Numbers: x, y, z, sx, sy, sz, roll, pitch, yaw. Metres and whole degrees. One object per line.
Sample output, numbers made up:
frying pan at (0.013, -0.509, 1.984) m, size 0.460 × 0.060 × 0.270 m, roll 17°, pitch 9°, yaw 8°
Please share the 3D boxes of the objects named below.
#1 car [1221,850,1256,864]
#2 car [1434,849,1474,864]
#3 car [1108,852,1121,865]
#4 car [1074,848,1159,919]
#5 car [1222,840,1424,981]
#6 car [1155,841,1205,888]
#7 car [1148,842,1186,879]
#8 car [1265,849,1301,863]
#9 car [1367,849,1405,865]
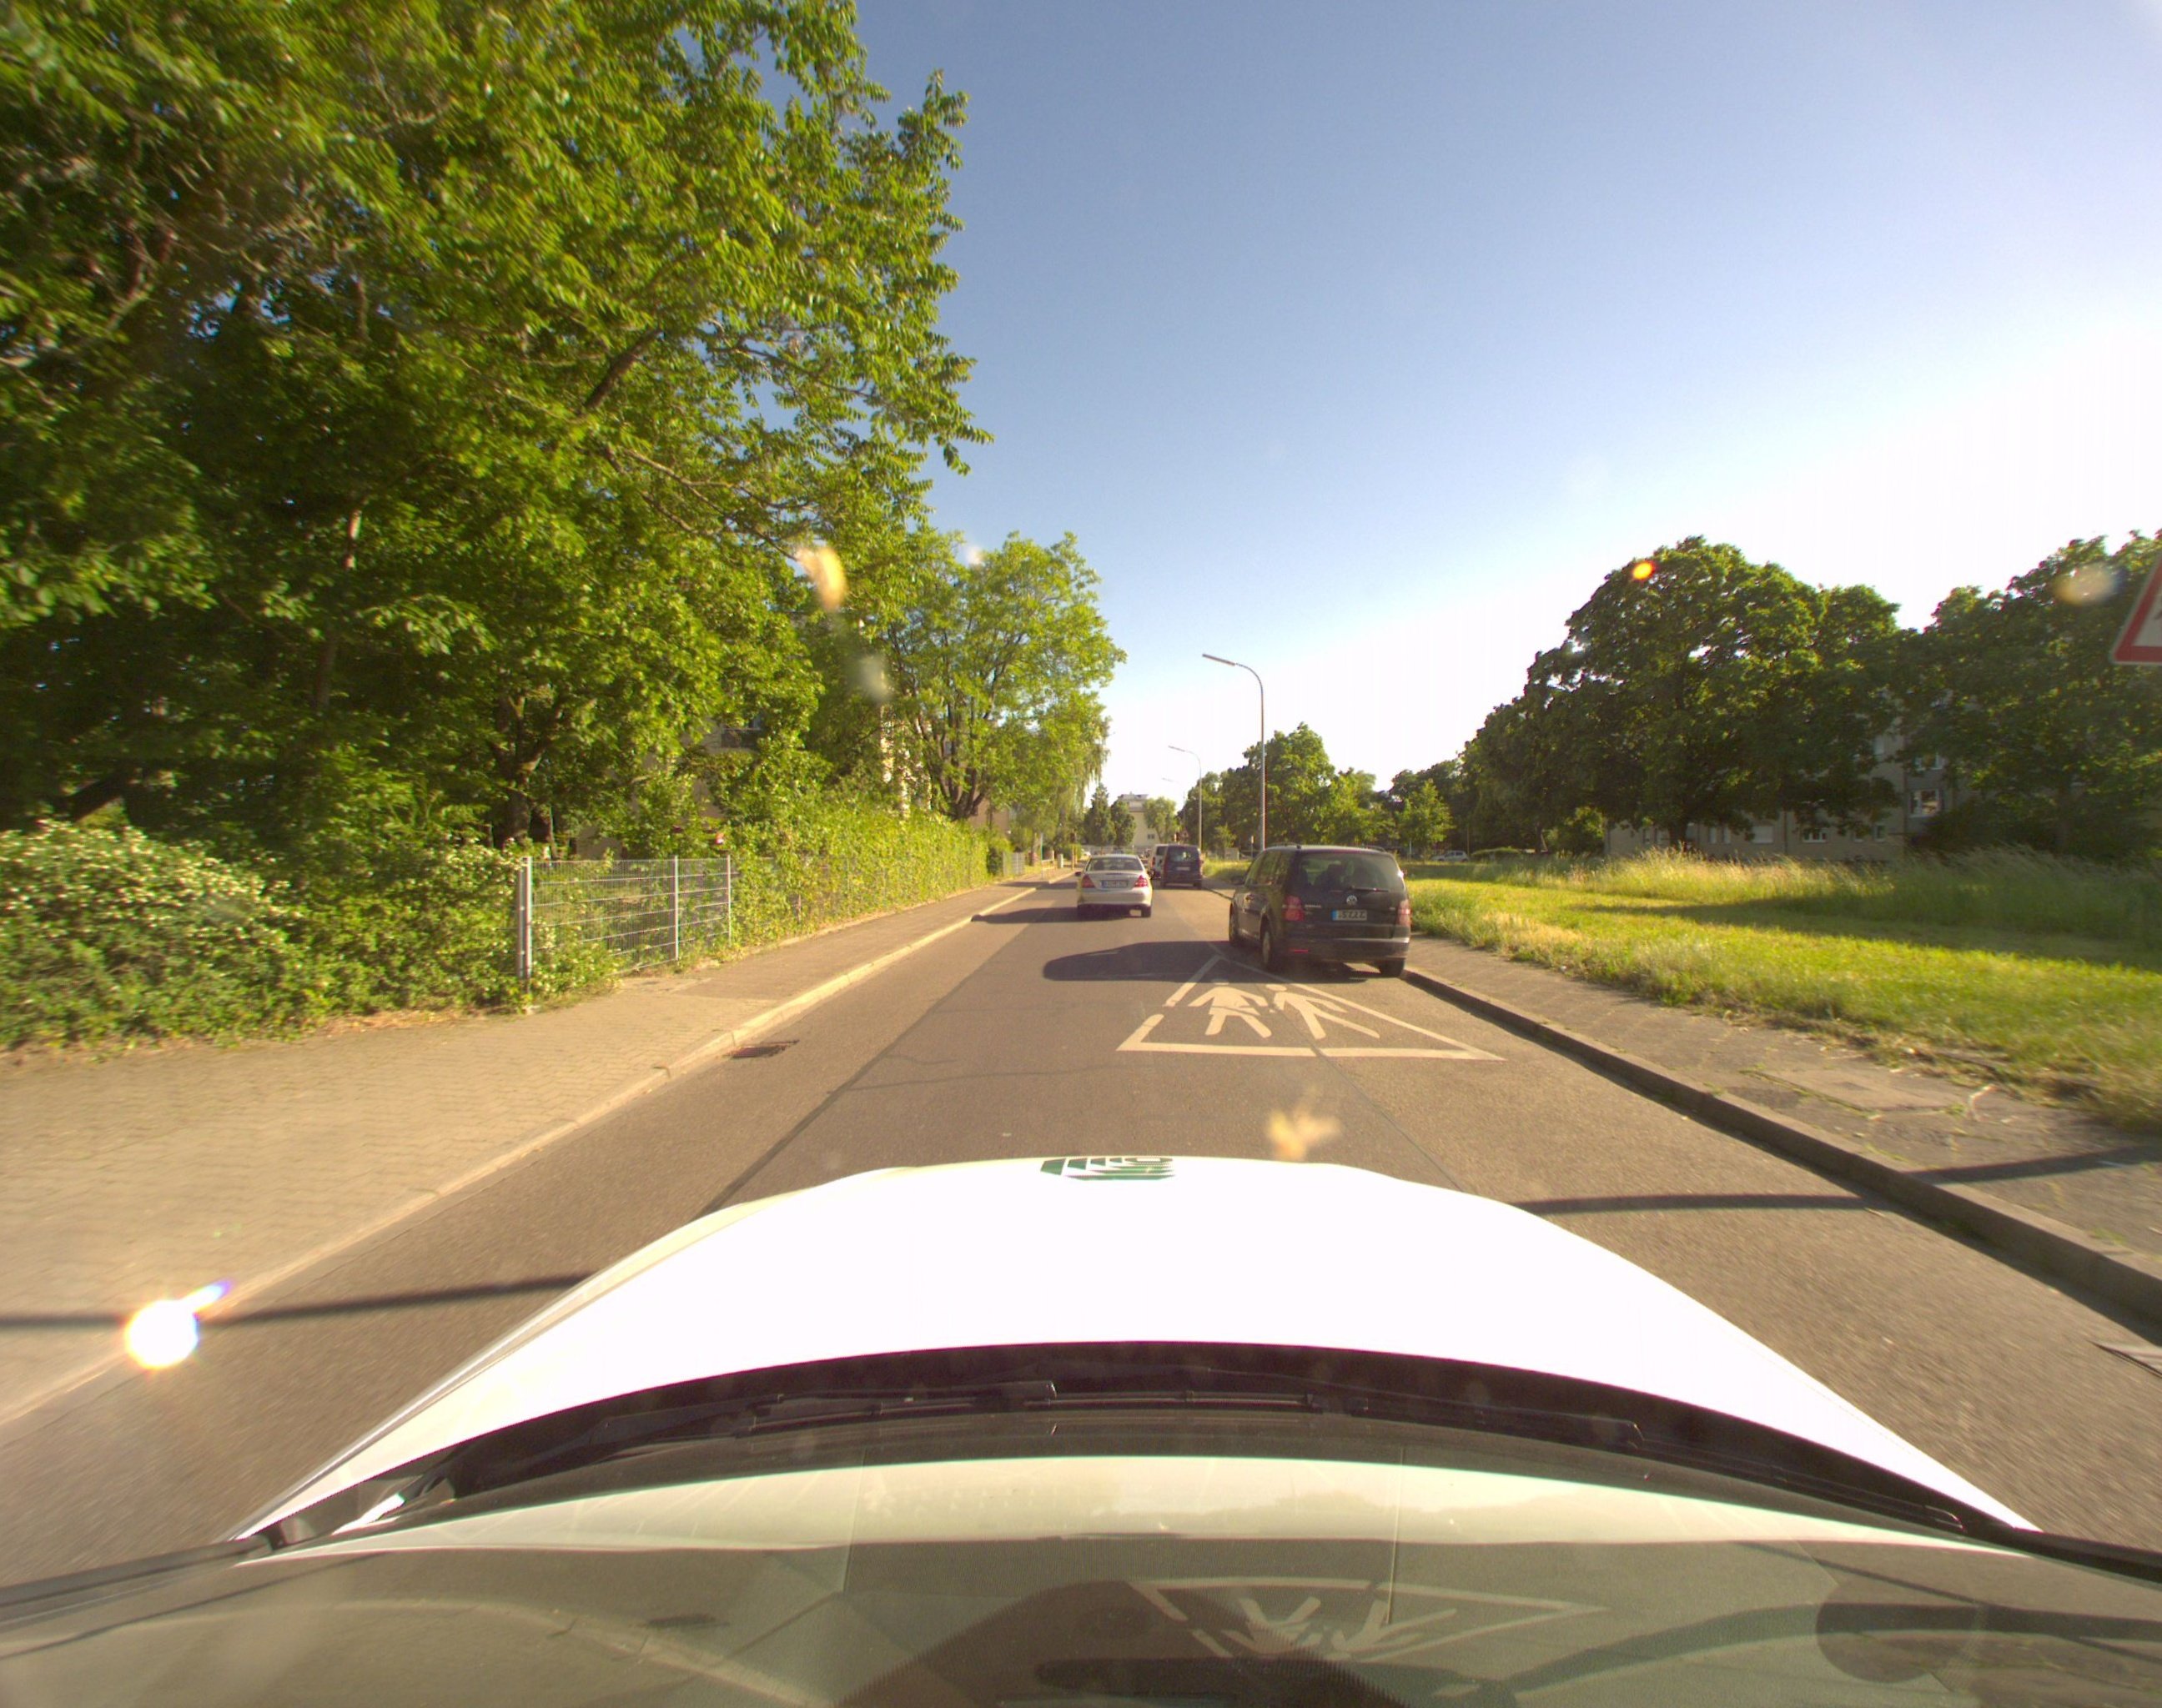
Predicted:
car at (17.405, 0.312, 90.071) m, size 3.673 × 1.441 × 1.707 m, roll 0°, pitch -2°, yaw 17°
car at (41.727, 0.263, 91.156) m, size 3.679 × 1.618 × 1.704 m, roll 0°, pitch -2°, yaw 11°
car at (4.849, 0.711, 118.856) m, size 1.877 × 1.728 × 4.001 m, roll 0°, pitch -2°, yaw 2°
car at (0.820, 0.607, 19.659) m, size 1.809 × 1.463 × 4.363 m, roll 0°, pitch 1°, yaw 2°
car at (3.207, 0.652, 11.611) m, size 1.692 × 1.610 × 4.001 m, roll 2°, pitch 0°, yaw 1°
car at (4.040, 0.401, 33.754) m, size 1.692 × 1.759 × 3.852 m, roll 2°, pitch 0°, yaw 2°
car at (4.546, 0.318, 43.674) m, size 1.692 × 1.851 × 3.852 m, roll 2°, pitch 0°, yaw 2°
car at (22.041, 0.264, 88.899) m, size 3.673 × 1.471 × 1.707 m, roll 0°, pitch -2°, yaw 17°
car at (32.314, 0.326, 86.460) m, size 3.673 × 1.618 × 1.707 m, roll 0°, pitch -2°, yaw 17°
